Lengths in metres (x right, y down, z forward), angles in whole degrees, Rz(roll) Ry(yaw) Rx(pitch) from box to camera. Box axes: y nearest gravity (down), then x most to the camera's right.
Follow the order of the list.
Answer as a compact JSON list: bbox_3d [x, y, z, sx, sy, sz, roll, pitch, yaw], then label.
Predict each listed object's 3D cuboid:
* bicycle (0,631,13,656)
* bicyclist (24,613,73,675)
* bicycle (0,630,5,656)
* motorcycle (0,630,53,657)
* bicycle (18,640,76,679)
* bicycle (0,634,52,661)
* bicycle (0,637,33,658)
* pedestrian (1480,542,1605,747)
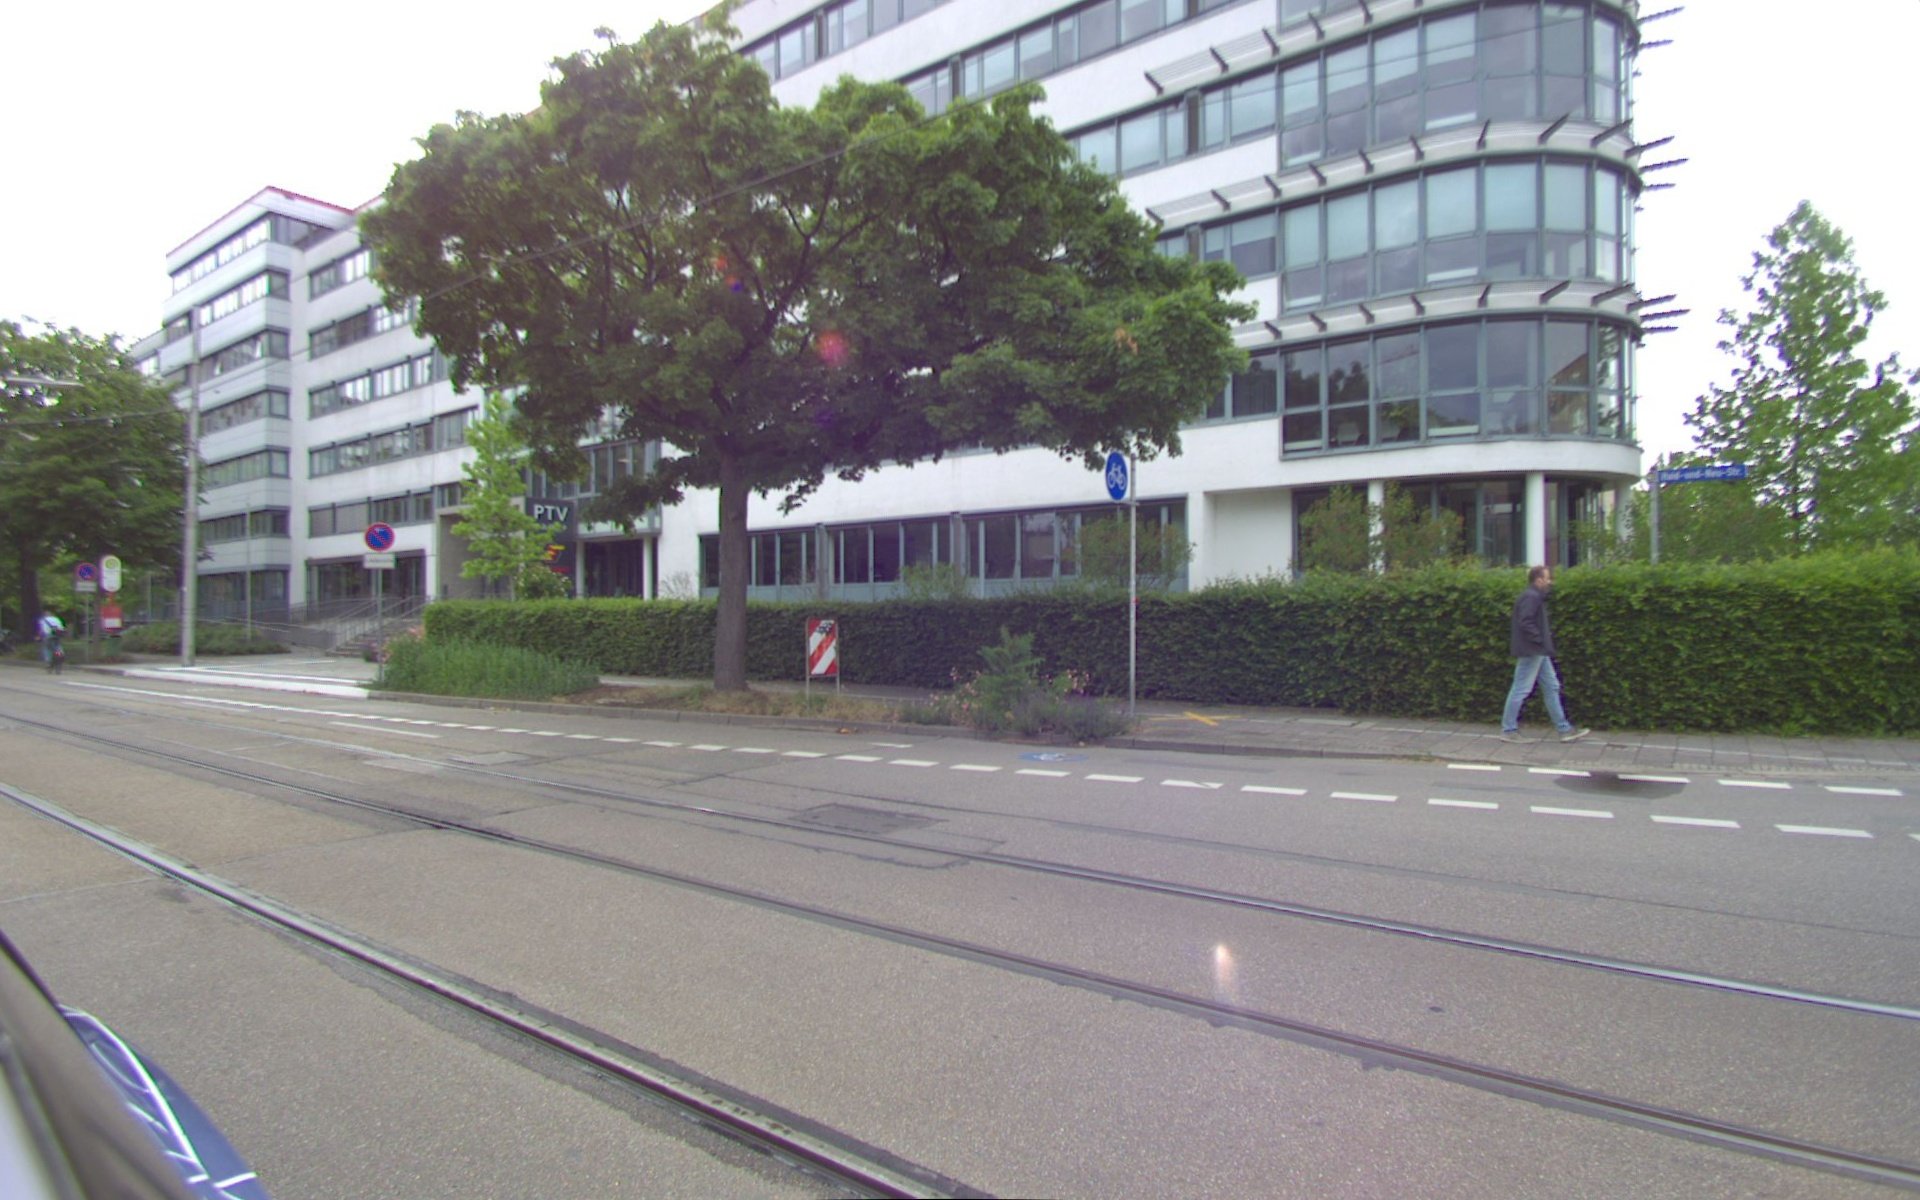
[{"bbox_3d":[-44.011,1.973,45.616,0.630,1.108,1.793,0,-2,30],"label":"bicycle"},{"bbox_3d":[-26.374,1.251,29.286,0.974,1.762,0.731,-1,-2,27],"label":"bicyclist"},{"bbox_3d":[-44.982,1.960,46.253,0.632,1.195,1.845,-1,-2,41],"label":"bicycle"},{"bbox_3d":[-40.481,1.863,43.724,0.730,1.058,1.776,-1,0,29],"label":"motorcycle"},{"bbox_3d":[-26.429,1.697,29.299,1.947,1.082,0.583,-1,-2,27],"label":"bicycle"},{"bbox_3d":[-38.970,1.959,41.952,0.738,1.061,1.817,-1,-1,28],"label":"bicycle"},{"bbox_3d":[-41.956,2.063,44.376,0.630,0.906,1.793,0,-2,30],"label":"bicycle"},{"bbox_3d":[6.119,0.439,10.636,0.991,2.029,0.702,-1,0,44],"label":"pedestrian"}]
